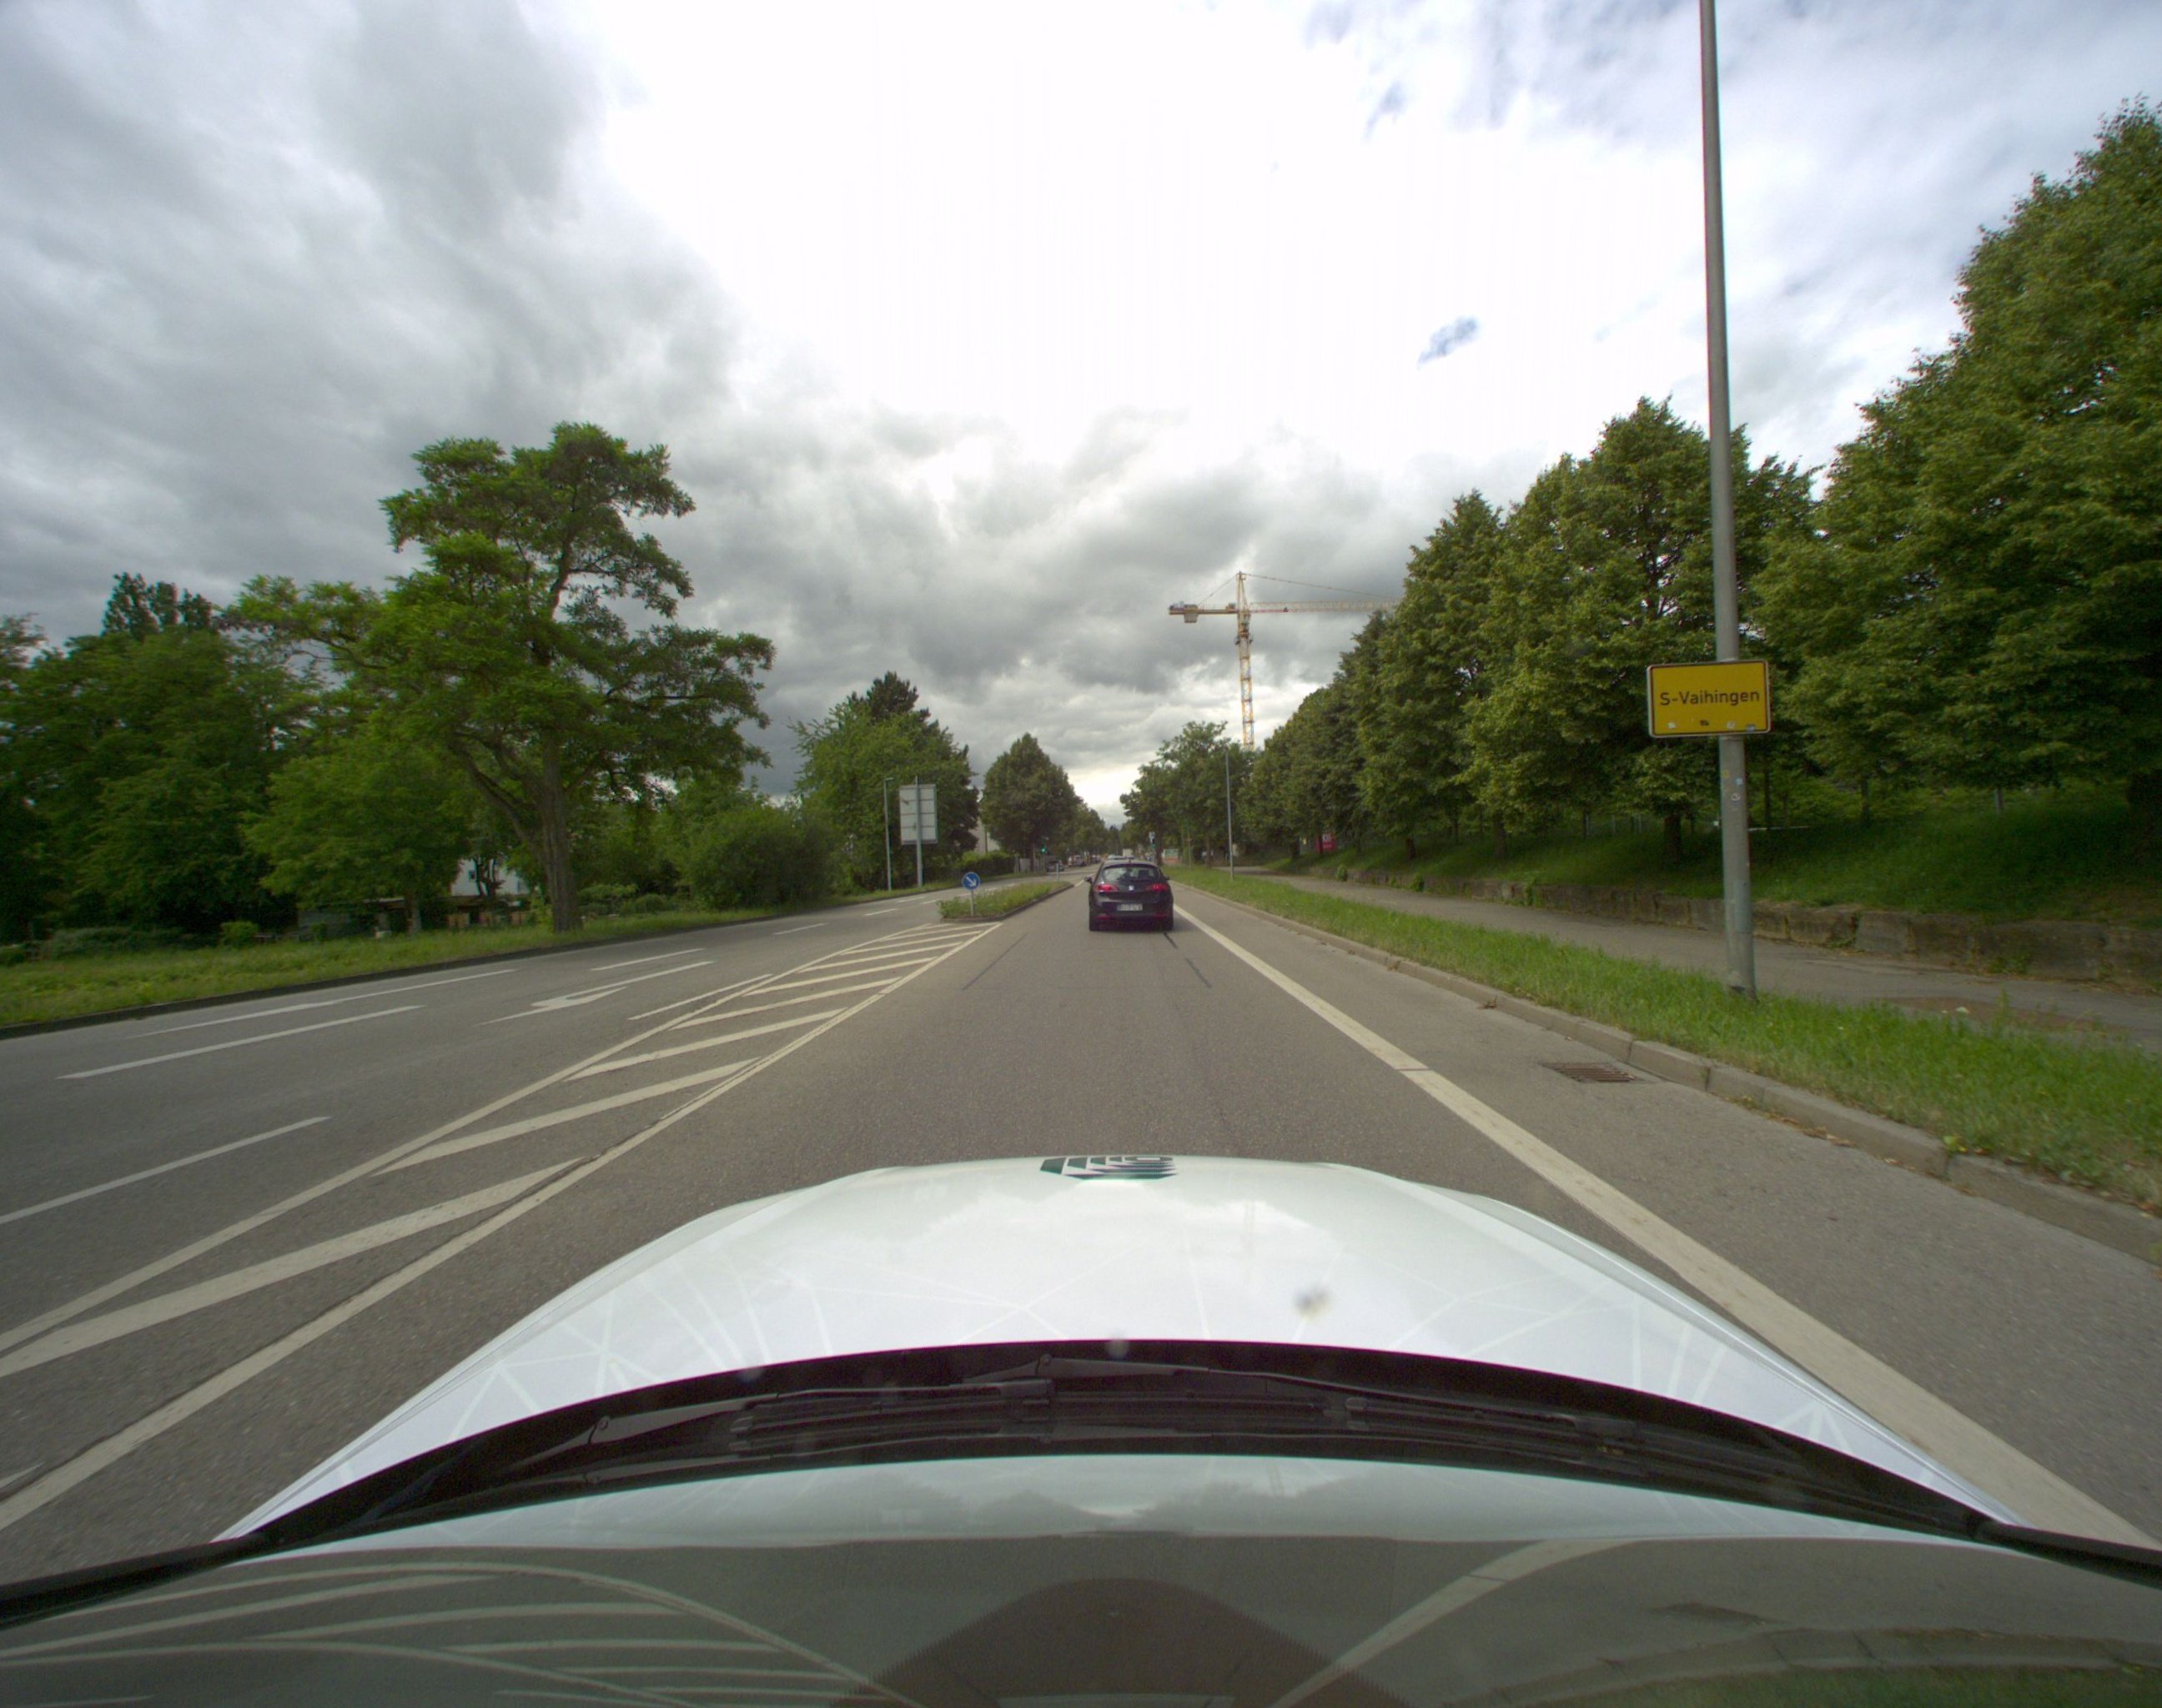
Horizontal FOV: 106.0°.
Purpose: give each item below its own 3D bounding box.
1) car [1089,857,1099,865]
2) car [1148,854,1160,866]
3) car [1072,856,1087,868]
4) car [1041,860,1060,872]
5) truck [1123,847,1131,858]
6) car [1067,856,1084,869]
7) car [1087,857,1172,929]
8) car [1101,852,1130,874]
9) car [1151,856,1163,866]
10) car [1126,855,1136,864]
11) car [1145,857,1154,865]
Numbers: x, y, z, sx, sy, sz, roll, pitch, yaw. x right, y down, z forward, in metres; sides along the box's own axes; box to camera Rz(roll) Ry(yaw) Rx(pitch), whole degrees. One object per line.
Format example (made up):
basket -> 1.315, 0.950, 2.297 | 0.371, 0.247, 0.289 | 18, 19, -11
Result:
car -> 2.954, 1.546, 184.580 | 2.091, 1.506, 5.789 | -4, -1, 4
car -> 11.282, 0.954, 126.411 | 1.681, 1.711, 4.217 | -2, -1, 4
car -> -0.246, 1.344, 134.856 | 2.091, 1.896, 5.789 | -4, -1, 4
car -> -3.631, 1.416, 98.163 | 1.711, 1.395, 4.805 | -4, -1, 4
truck -> 13.383, -0.454, 236.079 | 2.269, 3.104, 8.517 | 0, -1, 3
car -> -0.830, 1.308, 127.315 | 2.091, 1.896, 5.789 | -4, -1, 4
car -> 1.033, 0.780, 17.847 | 1.656, 1.401, 3.814 | 0, -1, 2
car -> 2.413, 0.616, 56.038 | 1.838, 1.510, 3.816 | 0, -1, 4
car -> 11.281, 1.064, 121.285 | 1.681, 1.490, 3.358 | -2, -1, 3
car -> 9.890, 1.086, 160.218 | 1.873, 1.689, 4.217 | -2, -1, 4
car -> 14.322, 1.507, 169.611 | 1.681, 1.564, 4.217 | -2, -1, 4
